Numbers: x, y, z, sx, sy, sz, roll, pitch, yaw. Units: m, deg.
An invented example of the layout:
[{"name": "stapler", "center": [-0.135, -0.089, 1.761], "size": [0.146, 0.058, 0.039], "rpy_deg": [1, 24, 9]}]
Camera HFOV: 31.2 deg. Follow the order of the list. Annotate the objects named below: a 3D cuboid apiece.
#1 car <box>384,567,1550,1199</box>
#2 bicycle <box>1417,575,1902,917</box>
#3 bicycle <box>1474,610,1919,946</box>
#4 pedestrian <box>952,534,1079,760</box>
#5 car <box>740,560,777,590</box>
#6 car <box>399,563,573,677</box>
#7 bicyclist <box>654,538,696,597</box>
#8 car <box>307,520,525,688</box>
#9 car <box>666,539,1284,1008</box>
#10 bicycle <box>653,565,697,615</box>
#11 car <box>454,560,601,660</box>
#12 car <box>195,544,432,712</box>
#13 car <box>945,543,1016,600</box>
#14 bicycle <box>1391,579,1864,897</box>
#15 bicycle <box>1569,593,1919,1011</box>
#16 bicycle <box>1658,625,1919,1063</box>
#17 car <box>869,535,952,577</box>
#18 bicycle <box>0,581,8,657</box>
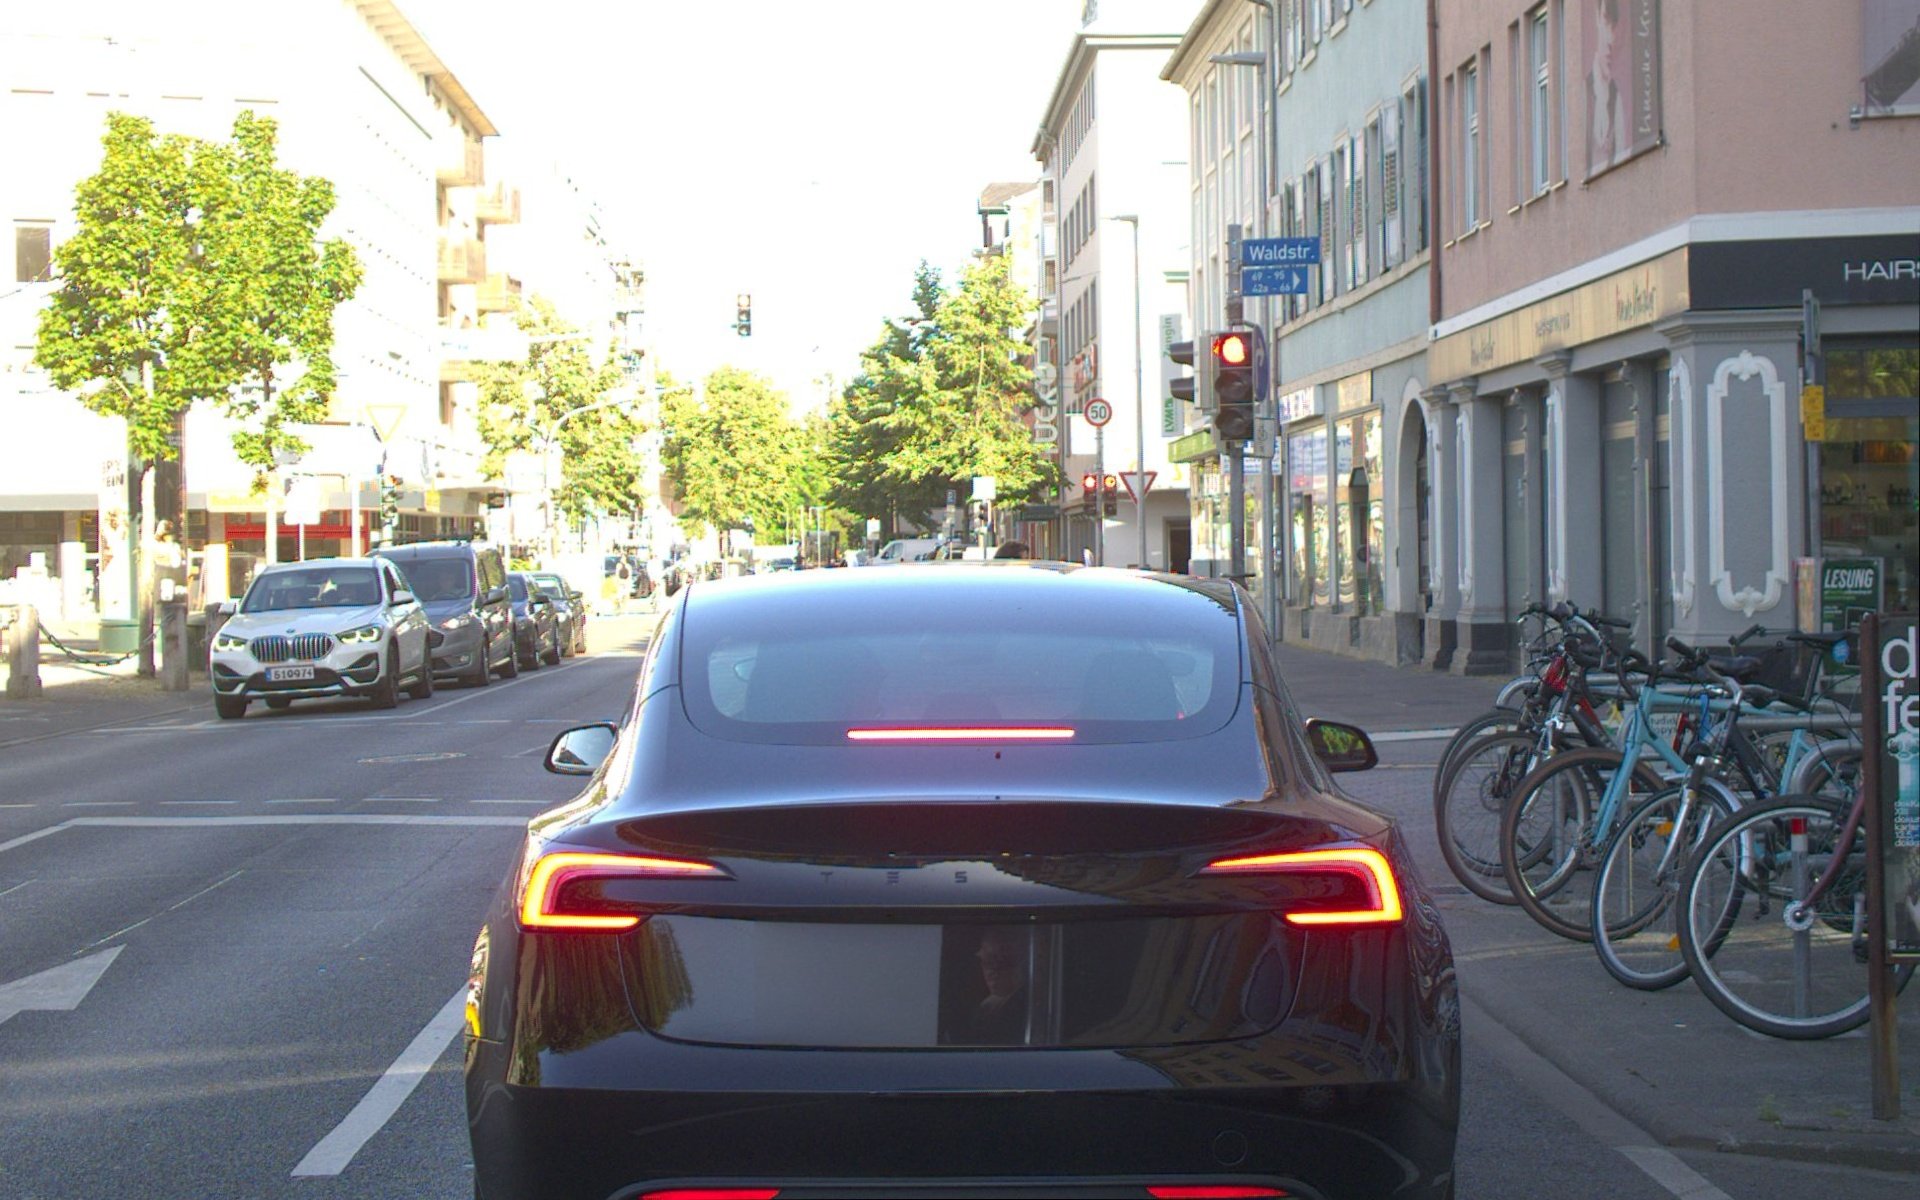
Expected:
[{"name": "car", "center": [-0.009, 0.660, 7.466], "size": [1.848, 1.450, 4.000], "rpy_deg": [0, 1, -1]}, {"name": "bicycle", "center": [2.740, 0.562, 13.614], "size": [1.746, 1.262, 0.781], "rpy_deg": [-2, 1, 3]}, {"name": "bicycle", "center": [2.807, 0.627, 12.436], "size": [1.798, 1.120, 0.781], "rpy_deg": [-2, 1, 5]}, {"name": "pedestrian", "center": [0.383, 0.317, 24.006], "size": [0.747, 1.547, 0.699], "rpy_deg": [0, 1, -12]}, {"name": "car", "center": [-10.957, -1.367, 187.039], "size": [1.993, 1.631, 4.001], "rpy_deg": [0, 1, -3]}, {"name": "car", "center": [-6.748, 0.246, 49.397], "size": [1.993, 1.405, 4.675], "rpy_deg": [-4, 1, -3]}, {"name": "bicyclist", "center": [-7.919, -0.906, 95.579], "size": [1.126, 1.623, 0.965], "rpy_deg": [0, 1, -3]}, {"name": "car", "center": [-6.665, -0.001, 42.569], "size": [1.834, 1.838, 4.674], "rpy_deg": [-4, 1, 0]}, {"name": "car", "center": [-0.018, 0.524, 13.174], "size": [1.993, 1.507, 4.176], "rpy_deg": [0, 1, -2]}, {"name": "bicycle", "center": [-7.901, -0.290, 95.495], "size": [1.111, 1.340, 4.001], "rpy_deg": [0, 1, -3]}, {"name": "car", "center": [-7.114, 0.128, 56.988], "size": [1.993, 1.431, 4.675], "rpy_deg": [-4, 1, -3]}, {"name": "car", "center": [-6.749, 0.239, 36.300], "size": [1.807, 1.550, 4.310], "rpy_deg": [-4, 1, -3]}, {"name": "car", "center": [0.577, -0.850, 100.657], "size": [1.993, 1.623, 4.000], "rpy_deg": [0, 1, 0]}, {"name": "bicycle", "center": [2.810, 0.573, 14.645], "size": [1.862, 1.253, 0.832], "rpy_deg": [-2, 1, 5]}, {"name": "bicycle", "center": [2.887, 0.624, 11.084], "size": [1.722, 1.263, 0.790], "rpy_deg": [-2, 1, 5]}, {"name": "bicycle", "center": [3.033, 0.674, 9.953], "size": [1.886, 1.189, 0.691], "rpy_deg": [-2, 1, 5]}, {"name": "car", "center": [-2.434, -2.150, 167.519], "size": [3.986, 2.007, 2.000], "rpy_deg": [0, 1, -2]}, {"name": "bicycle", "center": [-15.715, 0.291, 52.195], "size": [2.323, 1.152, 0.843], "rpy_deg": [0, 1, -5]}]
